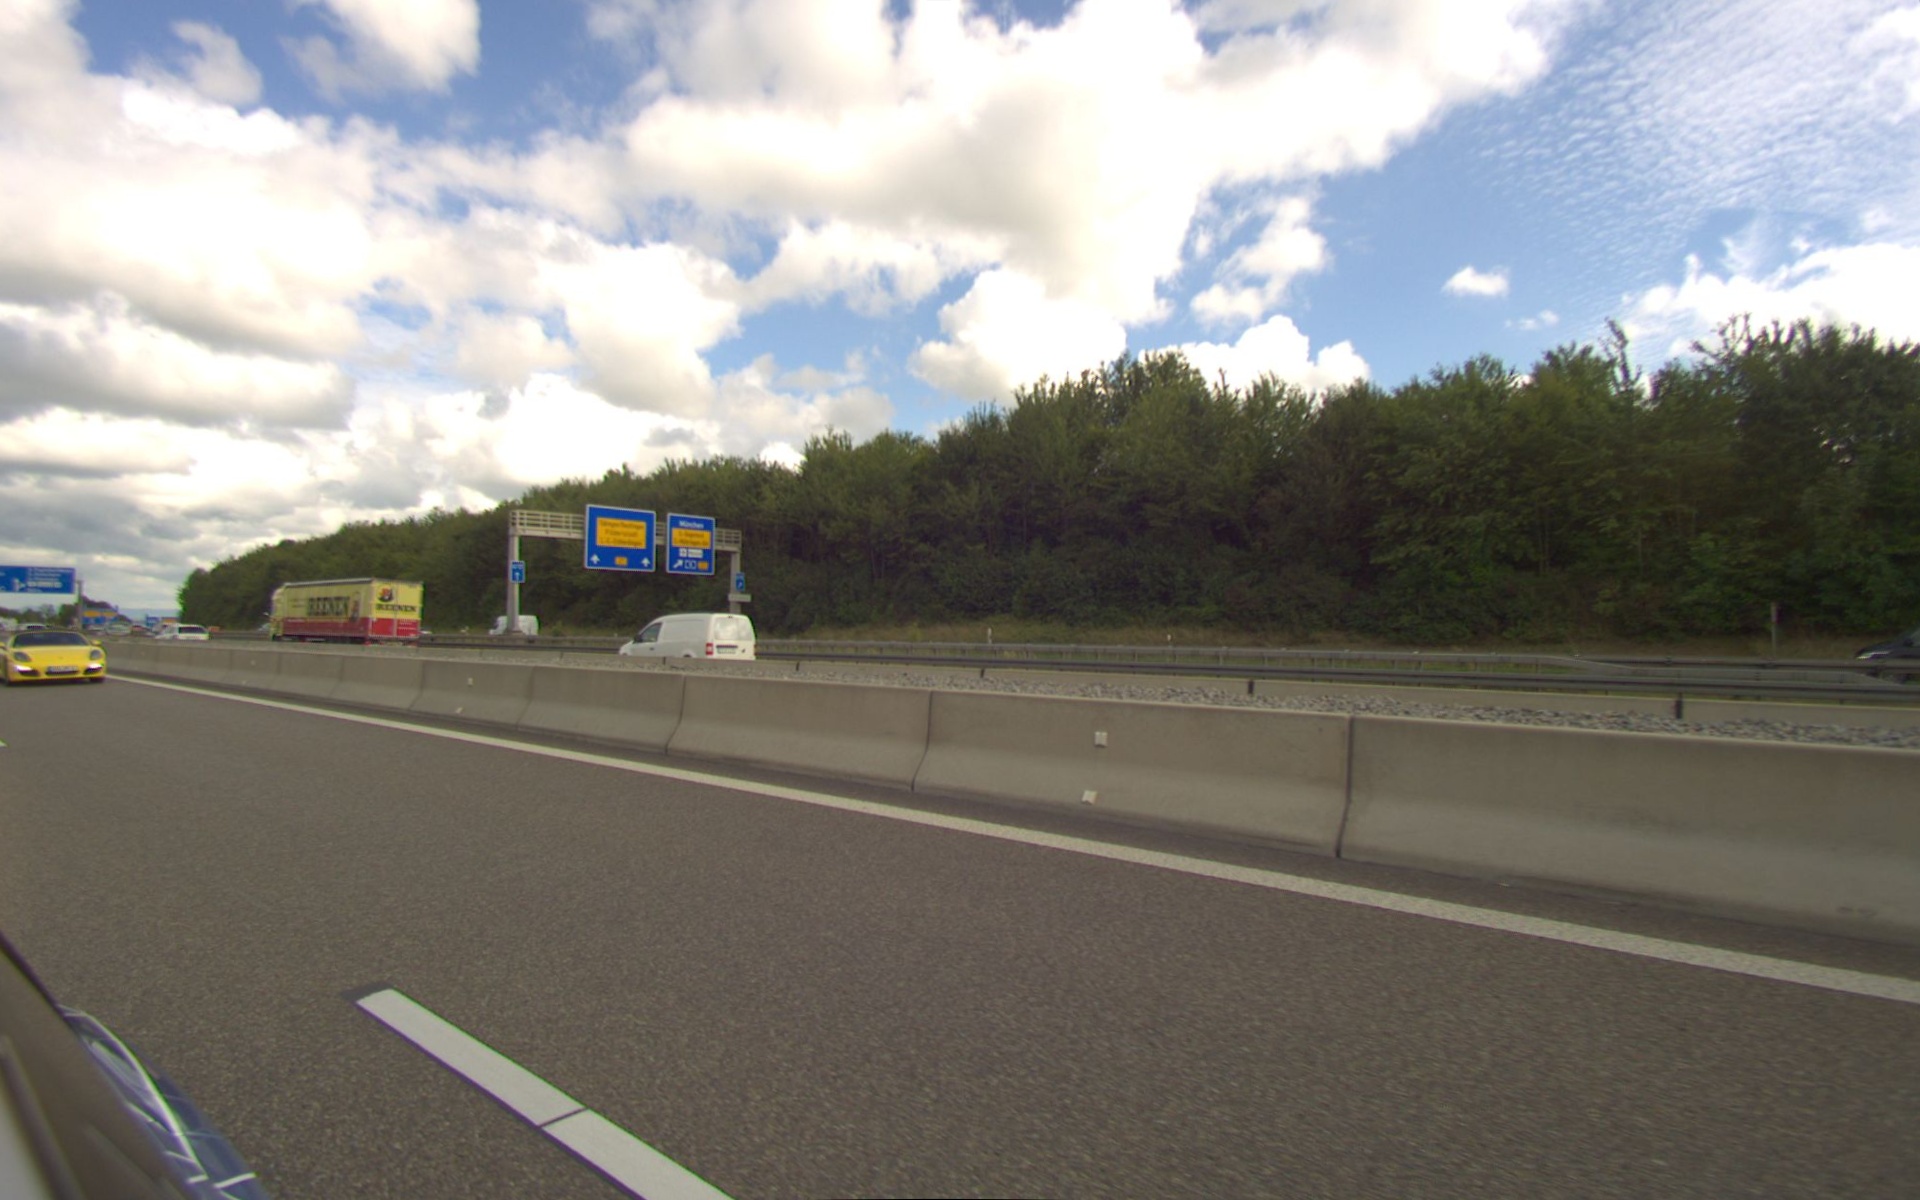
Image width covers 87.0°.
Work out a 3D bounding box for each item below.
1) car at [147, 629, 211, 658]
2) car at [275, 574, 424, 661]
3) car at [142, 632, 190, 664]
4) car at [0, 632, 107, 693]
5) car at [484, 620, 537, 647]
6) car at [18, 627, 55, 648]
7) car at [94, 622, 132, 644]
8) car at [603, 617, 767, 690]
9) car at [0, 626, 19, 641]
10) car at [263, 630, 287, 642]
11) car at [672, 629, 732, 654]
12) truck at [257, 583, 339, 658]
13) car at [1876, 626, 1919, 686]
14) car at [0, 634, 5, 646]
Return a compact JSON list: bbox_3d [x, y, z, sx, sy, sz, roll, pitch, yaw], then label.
[{"bbox_3d":[-39.261,2.165,50.834,4.531,1.412,1.649,-2,-2,41],"label":"car"},{"bbox_3d":[-34.341,1.078,56.539,14.137,4.358,2.875,-2,-3,41],"label":"car"},{"bbox_3d":[-53.042,3.183,67.573,4.551,2.029,1.734,-2,-1,41],"label":"car"},{"bbox_3d":[-21.971,1.441,24.144,4.245,1.325,1.788,-2,-4,41],"label":"car"},{"bbox_3d":[-38.826,2.900,87.275,5.889,2.252,1.972,-2,-3,42],"label":"car"},{"bbox_3d":[-74.576,3.028,81.735,4.178,1.584,1.758,-2,-1,41],"label":"car"},{"bbox_3d":[-66.942,2.611,79.976,4.461,1.623,1.578,-2,-1,41],"label":"car"},{"bbox_3d":[-7.536,1.388,27.479,5.121,1.808,1.716,-1,-2,40],"label":"car"},{"bbox_3d":[-146.251,5.179,155.126,6.456,2.289,2.142,-2,-2,41],"label":"car"},{"bbox_3d":[-83.548,4.435,123.382,3.758,1.437,1.450,-2,-2,41],"label":"car"},{"bbox_3d":[-17.627,2.822,69.011,4.417,1.674,1.827,-1,-2,41],"label":"car"},{"bbox_3d":[-40.461,1.282,61.846,5.159,4.356,2.866,-2,-2,41],"label":"truck"},{"bbox_3d":[28.272,1.557,27.873,4.417,1.674,1.862,-1,-2,41],"label":"car"},{"bbox_3d":[-128.016,5.238,134.031,4.778,1.573,1.756,-1,-2,41],"label":"car"}]
